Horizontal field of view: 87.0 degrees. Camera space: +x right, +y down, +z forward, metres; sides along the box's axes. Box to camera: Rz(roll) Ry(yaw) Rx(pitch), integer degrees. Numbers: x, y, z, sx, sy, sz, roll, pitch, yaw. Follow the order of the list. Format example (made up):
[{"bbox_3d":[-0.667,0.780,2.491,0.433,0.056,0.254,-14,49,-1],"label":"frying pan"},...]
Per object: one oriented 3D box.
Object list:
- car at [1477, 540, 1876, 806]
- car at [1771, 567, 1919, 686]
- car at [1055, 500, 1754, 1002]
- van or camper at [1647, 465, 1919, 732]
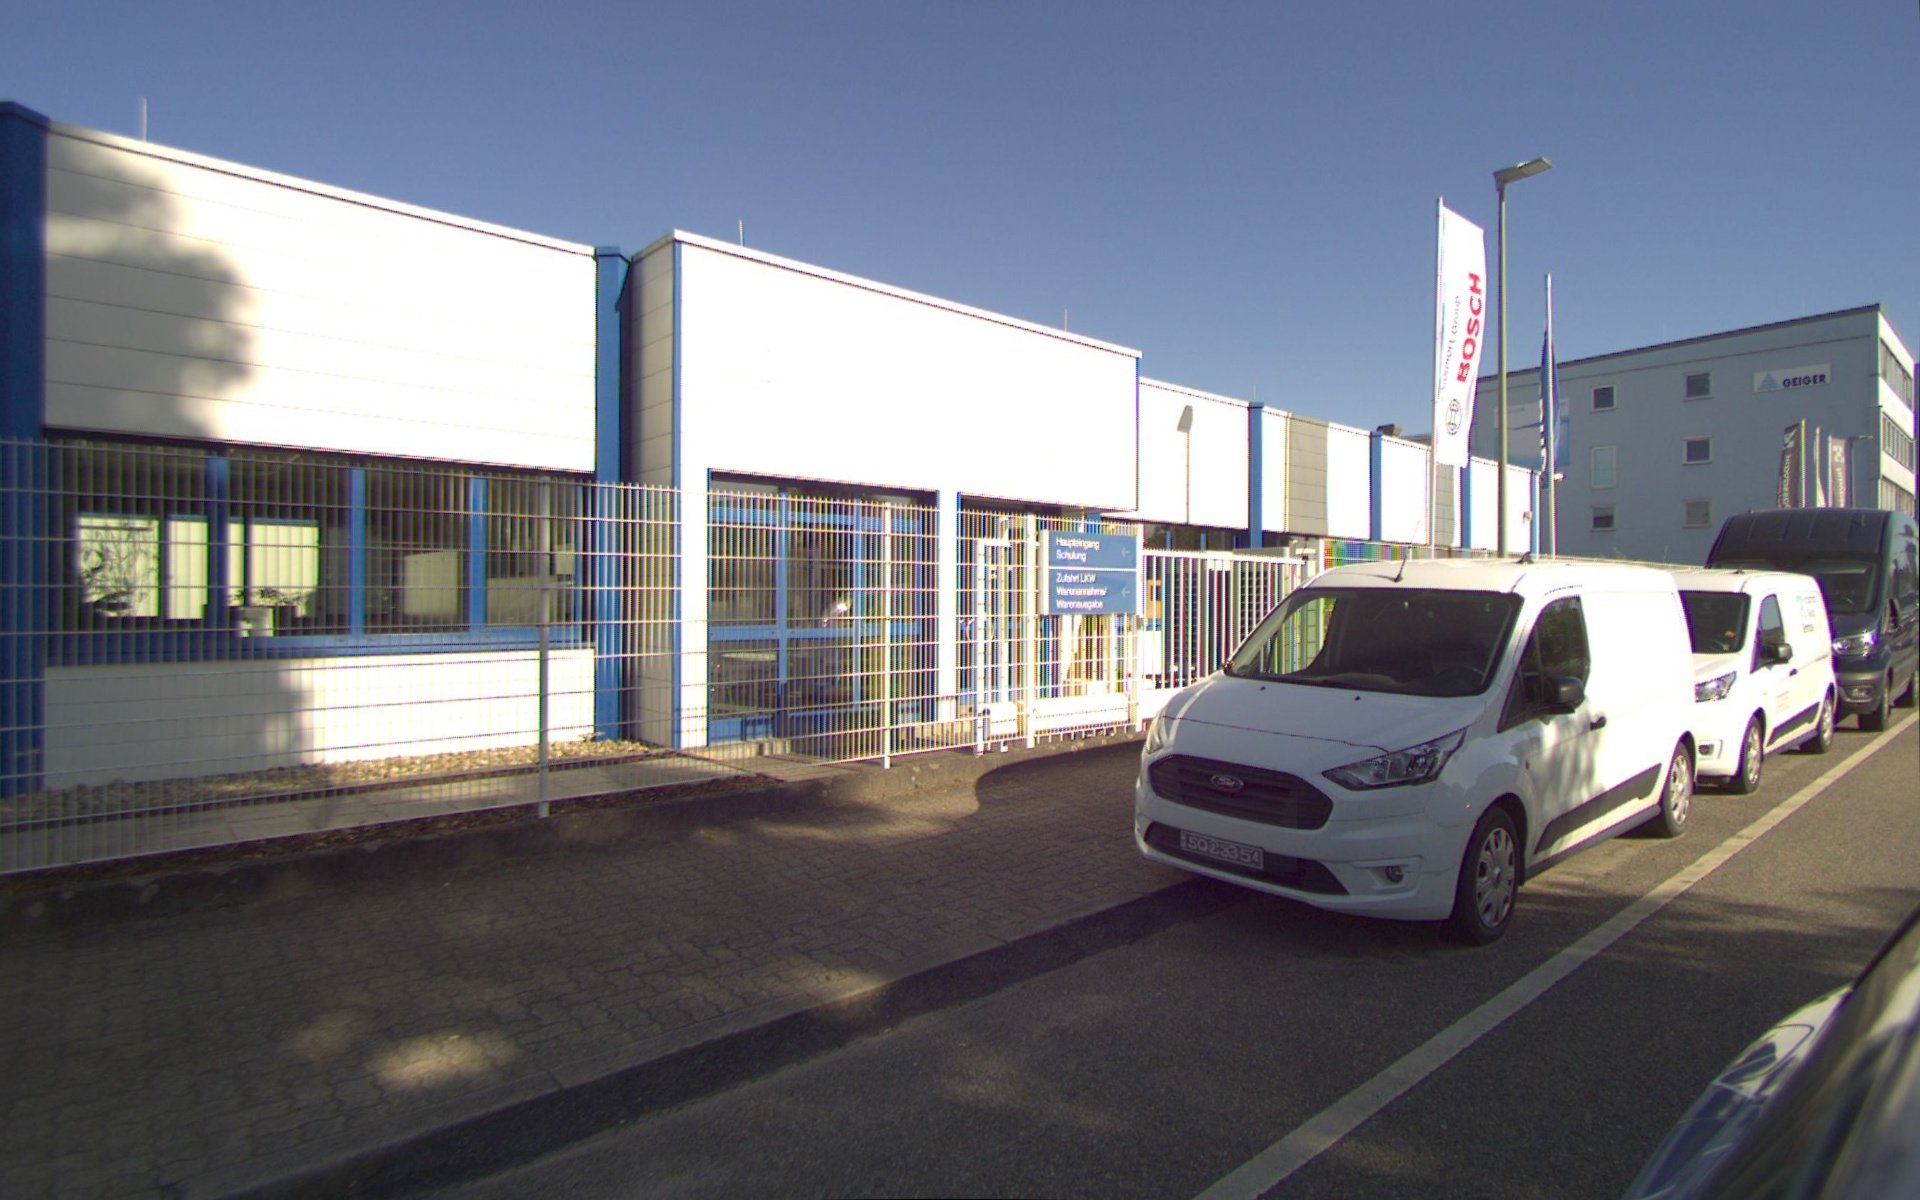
[{"bbox_3d":[6.909,0.499,9.502,5.015,1.870,1.888,-1,-1,-41],"label":"car"},{"bbox_3d":[15.948,0.394,17.732,5.016,1.820,1.888,-1,-1,-42],"label":"car"},{"bbox_3d":[3.017,0.542,6.128,5.078,1.854,1.858,-1,-1,-41],"label":"car"},{"bbox_3d":[11.325,-0.034,13.400,6.054,2.795,2.144,-1,-1,-41],"label":"van or camper"}]
